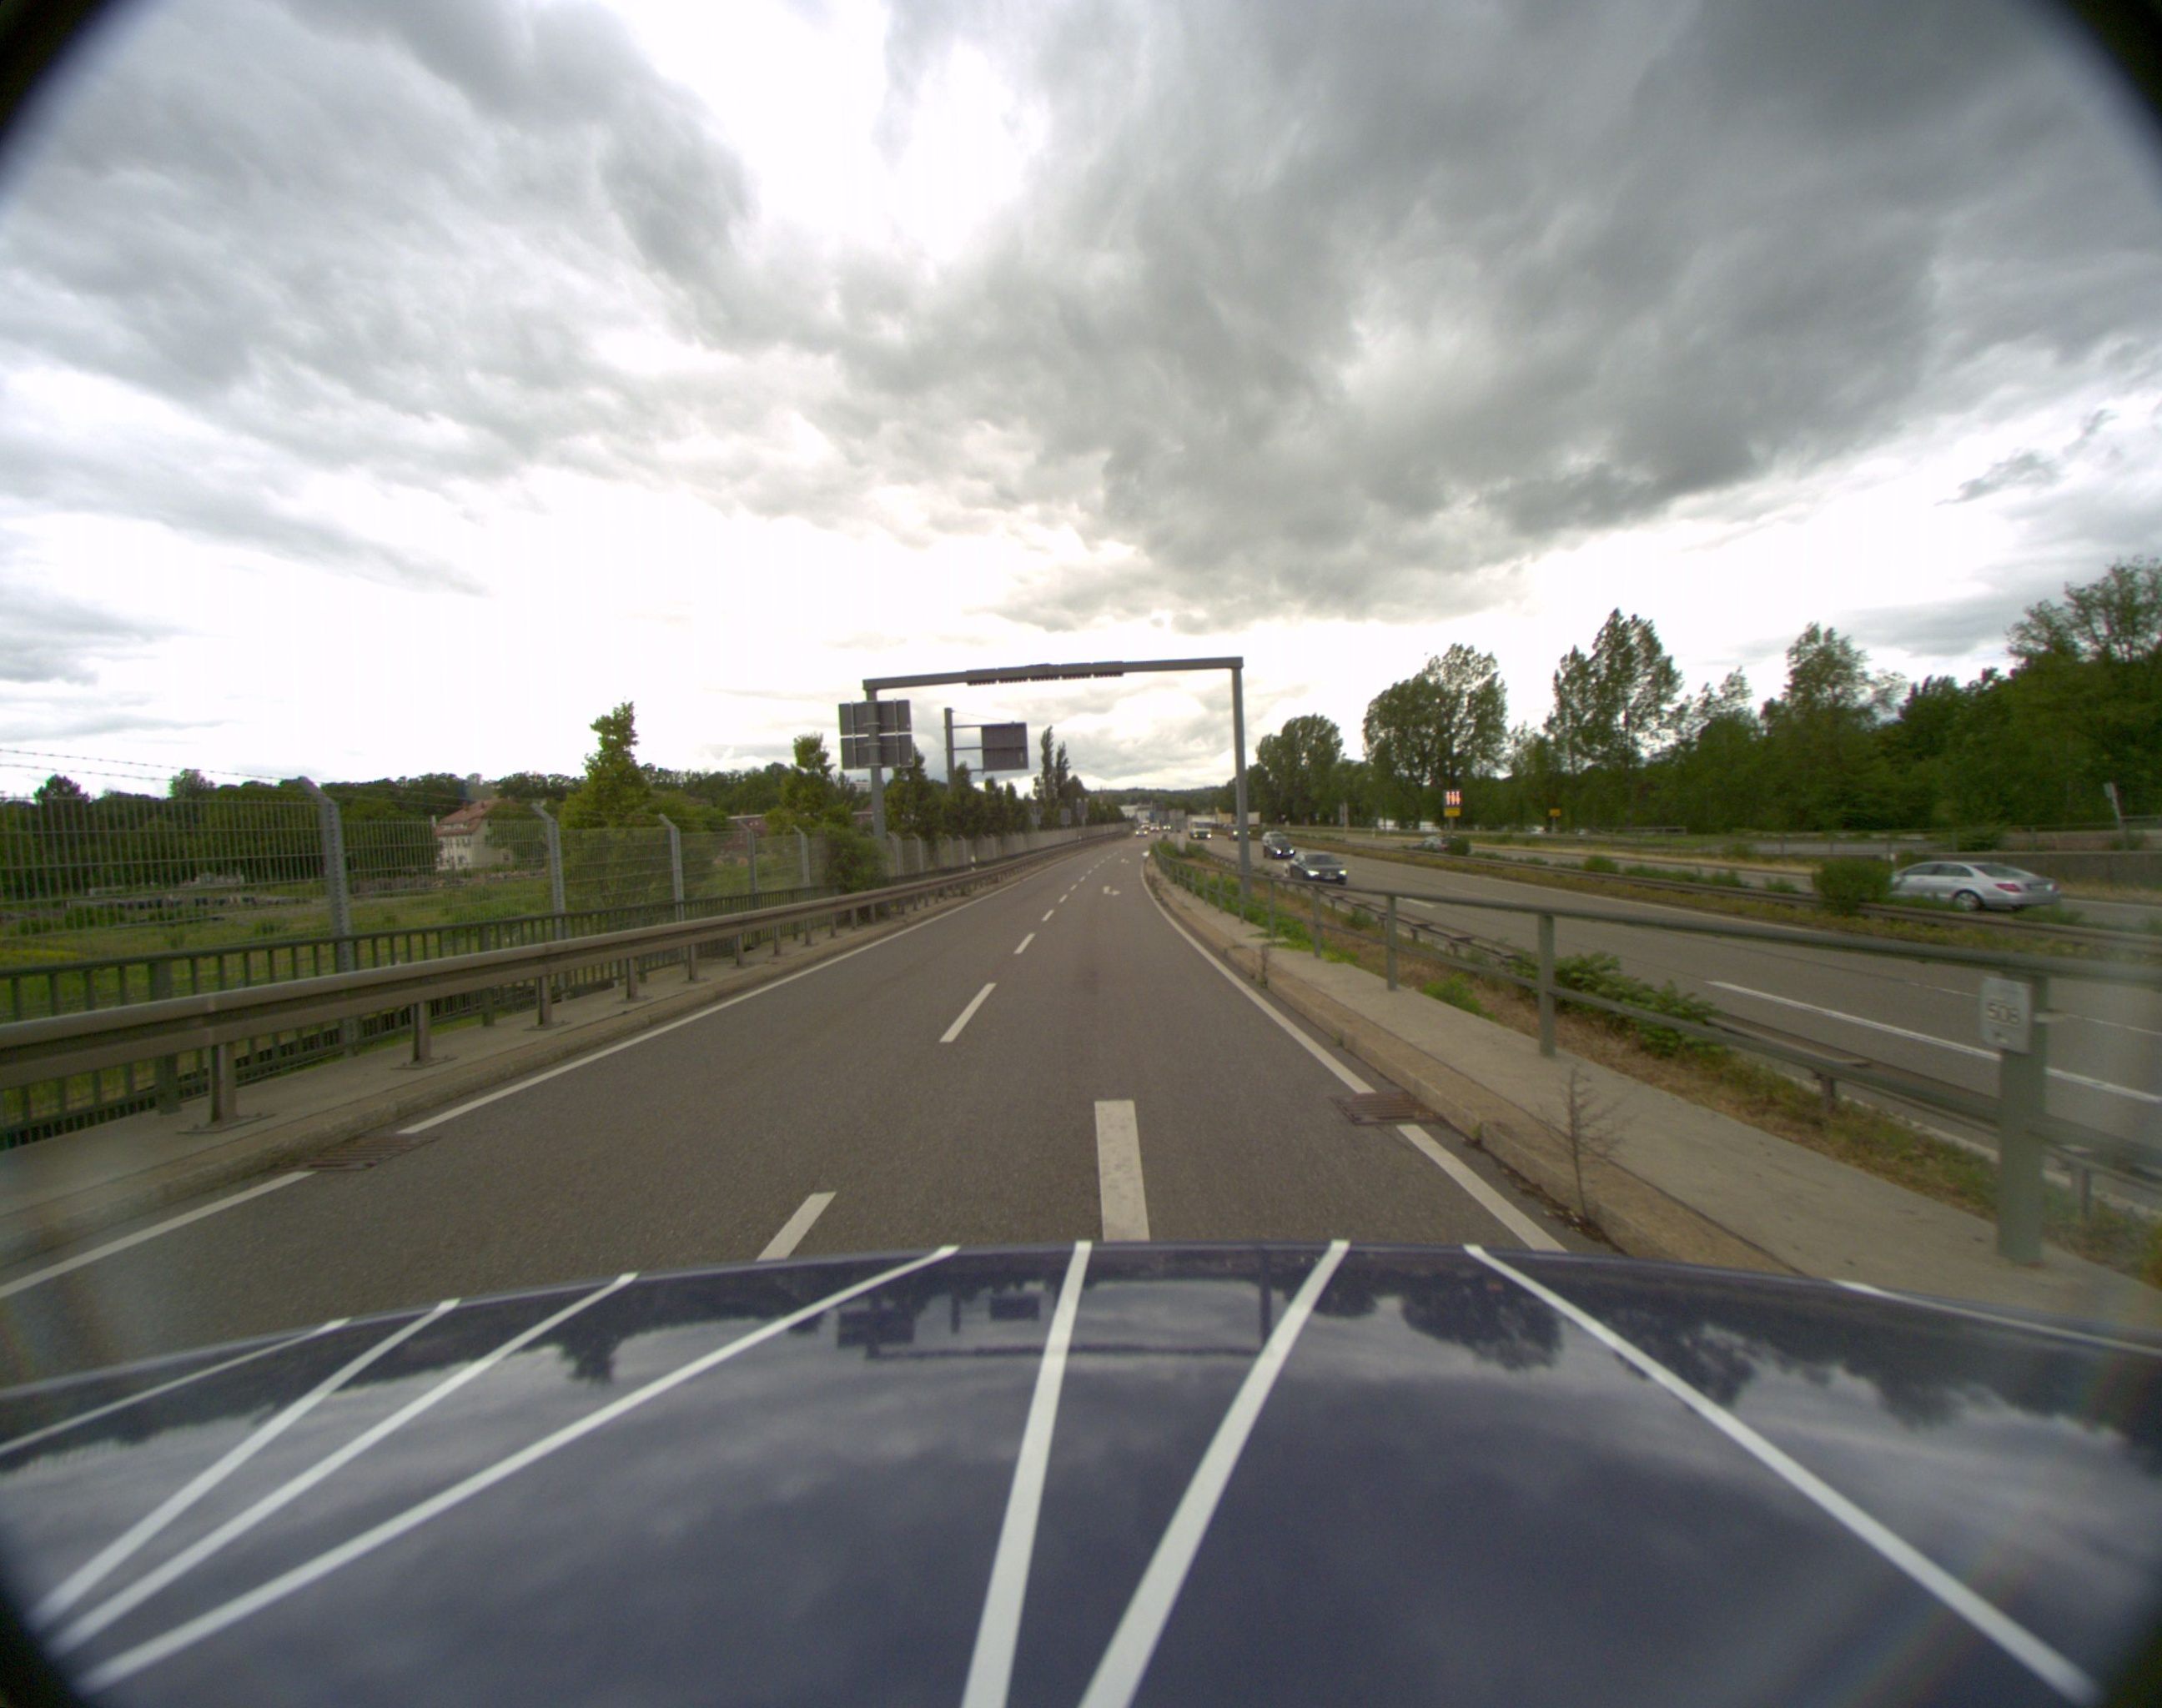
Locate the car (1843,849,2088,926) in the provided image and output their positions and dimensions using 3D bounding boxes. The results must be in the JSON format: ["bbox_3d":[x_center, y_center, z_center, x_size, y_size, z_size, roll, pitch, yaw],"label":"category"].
[{"bbox_3d":[26.984,0.920,23.516,1.998,1.684,4.698,-1,6,1],"label":"car"}]

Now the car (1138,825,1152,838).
[{"bbox_3d":[10.117,-3.506,119.706,1.997,2.002,4.001,-1,2,9],"label":"car"}]

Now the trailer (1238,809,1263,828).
[{"bbox_3d":[36.396,-7.669,163.319,2.796,3.928,13.508,-3,3,3],"label":"trailer"}]

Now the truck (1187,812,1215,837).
[{"bbox_3d":[16.060,-3.971,102.213,3.038,3.142,7.566,-1,3,5],"label":"truck"}]

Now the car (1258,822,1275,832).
[{"bbox_3d":[30.472,-4.445,124.637,1.998,1.427,3.999,-1,2,3],"label":"car"}]

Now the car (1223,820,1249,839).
[{"bbox_3d":[18.772,-3.005,92.441,2.099,2.003,5.336,-1,4,0],"label":"car"}]

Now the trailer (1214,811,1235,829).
[{"bbox_3d":[39.201,-9.414,208.525,3.471,4.648,14.777,-2,3,2],"label":"trailer"}]

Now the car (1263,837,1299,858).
[{"bbox_3d":[14.334,-0.490,54.567,1.728,1.320,3.646,-1,2,2],"label":"car"}]

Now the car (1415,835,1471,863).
[{"bbox_3d":[24.043,-0.357,50.618,1.998,1.718,3.999,-1,2,3],"label":"car"}]

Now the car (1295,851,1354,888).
[{"bbox_3d":[11.161,0.667,35.138,1.939,1.492,4.305,0,2,9],"label":"car"}]
